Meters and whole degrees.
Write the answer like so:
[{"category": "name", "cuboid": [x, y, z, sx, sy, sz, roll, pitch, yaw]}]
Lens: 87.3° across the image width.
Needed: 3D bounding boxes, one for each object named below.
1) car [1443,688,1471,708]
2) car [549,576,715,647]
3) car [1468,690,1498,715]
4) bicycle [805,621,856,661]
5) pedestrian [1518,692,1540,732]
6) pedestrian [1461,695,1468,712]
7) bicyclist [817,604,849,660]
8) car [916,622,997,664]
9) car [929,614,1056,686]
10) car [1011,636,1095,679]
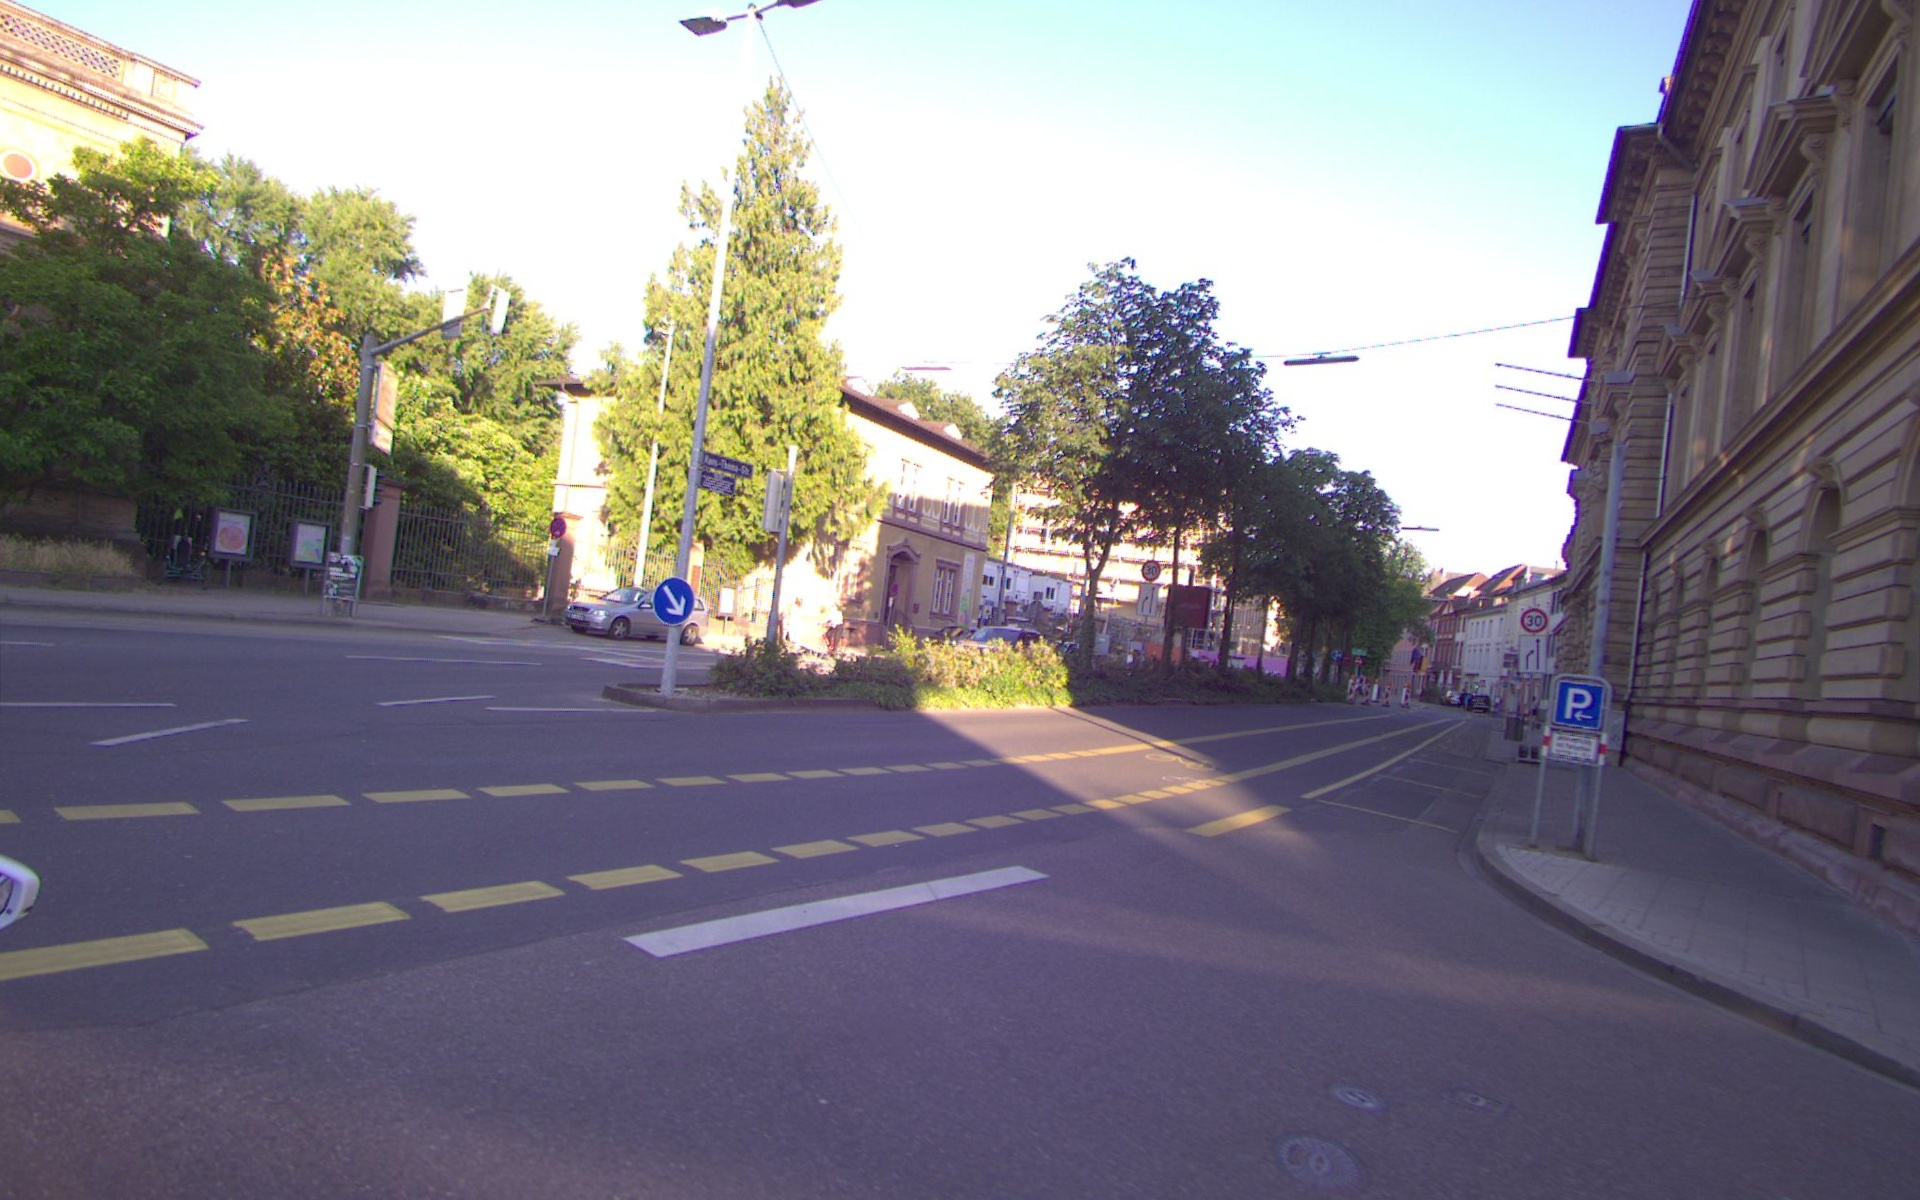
[{"category": "car", "cuboid": [50.252, 9.866, 101.783, 1.685, 1.678, 3.828, 7, -1, 17]}, {"category": "car", "cuboid": [-8.909, 0.372, 27.703, 1.686, 1.462, 4.194, 7, -1, 29]}, {"category": "car", "cuboid": [46.594, 9.125, 89.690, 1.686, 1.870, 3.827, 7, -1, 21]}, {"category": "bicycle", "cuboid": [-3.972, 1.274, 30.958, 0.488, 1.114, 1.663, 4, -2, 36]}, {"category": "pedestrian", "cuboid": [28.231, 5.535, 49.915, 0.761, 1.875, 0.811, 7, 0, 29]}, {"category": "pedestrian", "cuboid": [45.101, 9.223, 89.891, 0.358, 1.509, 0.330, 7, 0, 21]}, {"category": "bicyclist", "cuboid": [-3.924, 0.983, 31.033, 0.657, 1.663, 0.519, 4, -1, 36]}, {"category": "car", "cuboid": [-0.098, 1.947, 45.063, 1.803, 1.509, 4.073, 6, -2, 27]}, {"category": "car", "cuboid": [0.997, 1.432, 27.824, 1.803, 1.631, 4.073, 6, -2, 27]}, {"category": "car", "cuboid": [3.739, 2.298, 39.711, 1.803, 1.407, 4.019, 6, -2, 27]}]
